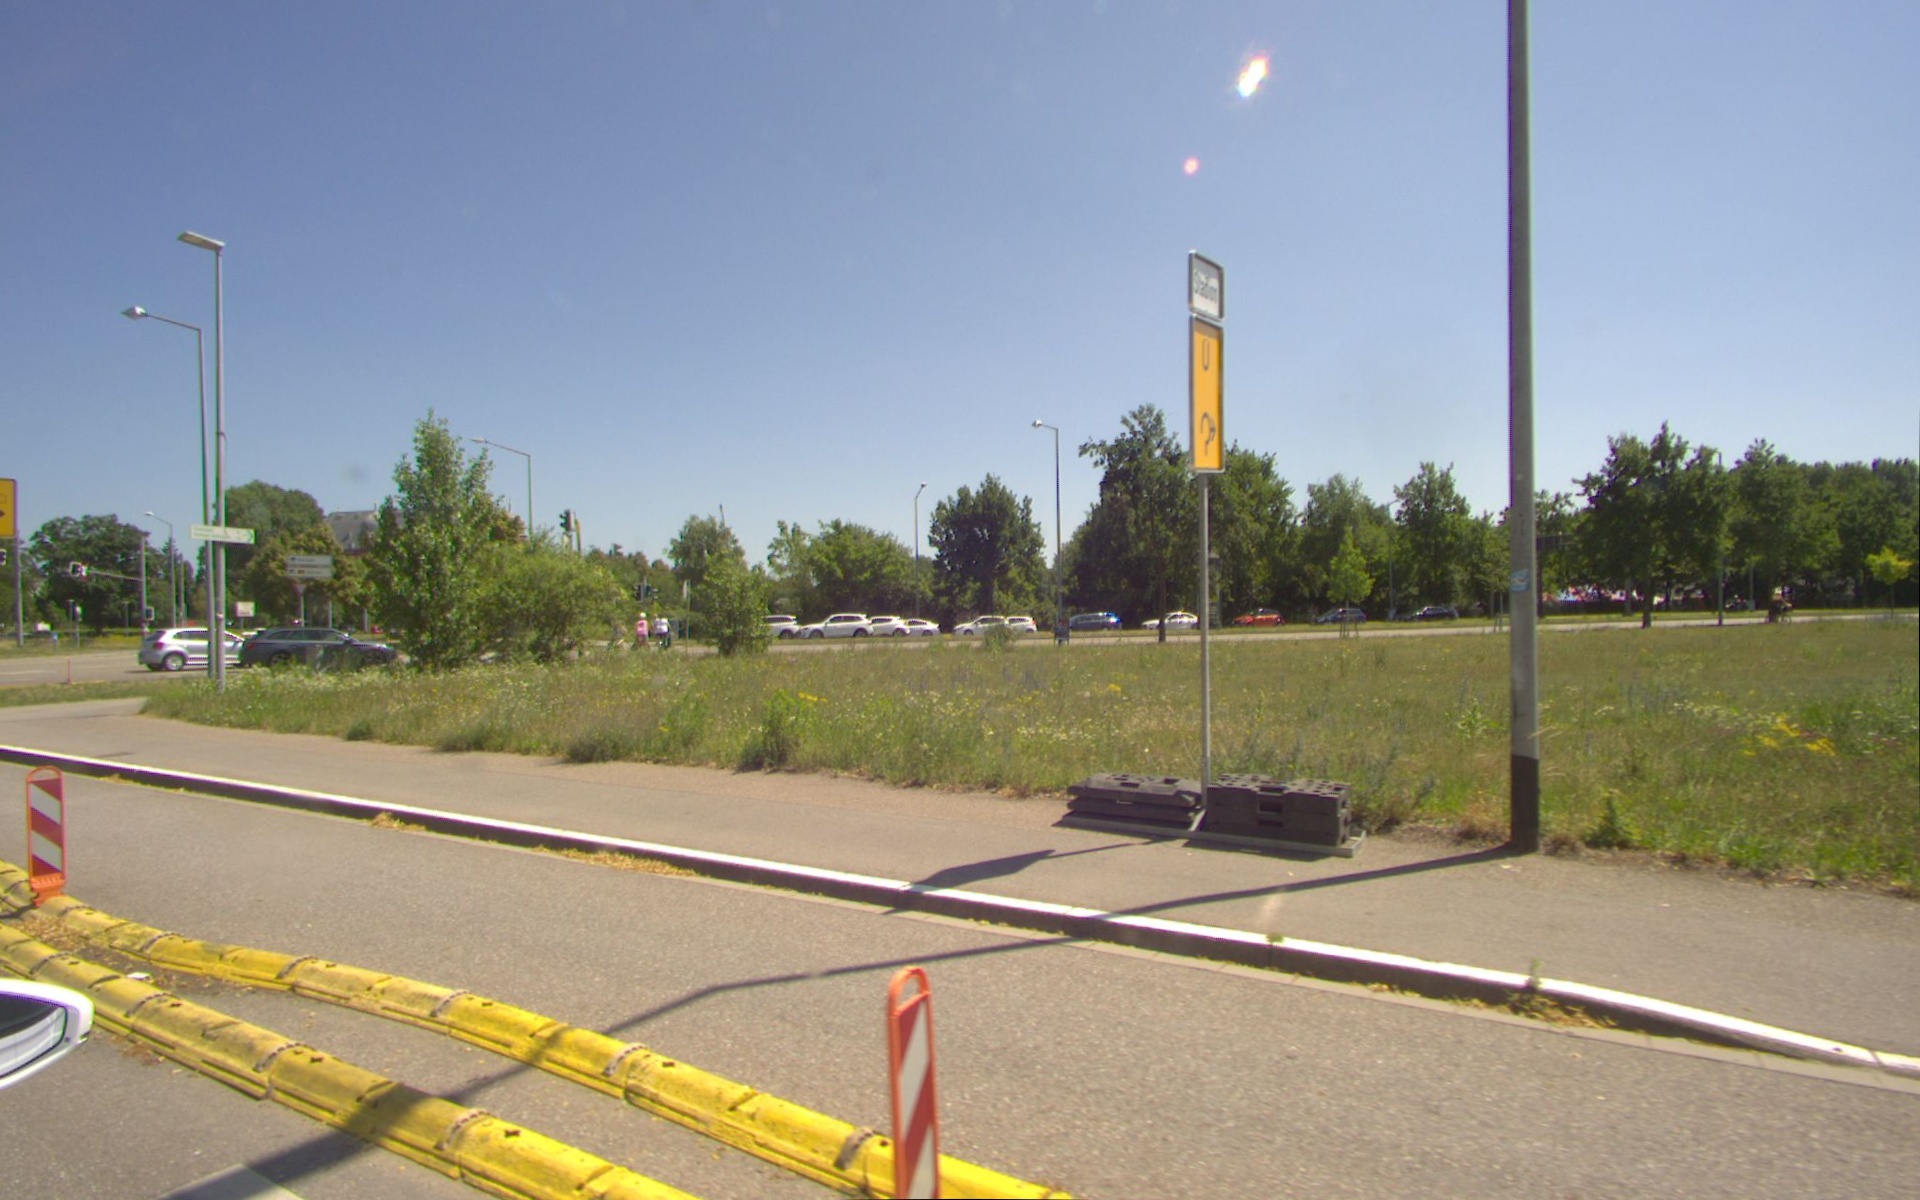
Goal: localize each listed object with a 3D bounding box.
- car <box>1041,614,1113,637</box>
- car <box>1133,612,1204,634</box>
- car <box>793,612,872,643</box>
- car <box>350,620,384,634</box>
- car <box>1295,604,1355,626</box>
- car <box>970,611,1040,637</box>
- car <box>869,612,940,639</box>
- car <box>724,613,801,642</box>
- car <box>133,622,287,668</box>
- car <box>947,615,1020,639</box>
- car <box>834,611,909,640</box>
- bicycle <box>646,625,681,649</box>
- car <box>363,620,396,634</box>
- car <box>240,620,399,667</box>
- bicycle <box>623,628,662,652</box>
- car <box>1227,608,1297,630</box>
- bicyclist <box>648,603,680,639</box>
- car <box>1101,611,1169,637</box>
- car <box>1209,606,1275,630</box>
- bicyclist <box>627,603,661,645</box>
[{"bbox_3d":[7.651,1.641,65.654,4.329,1.441,1.862,0,0,-16],"label":"car"},{"bbox_3d":[14.073,1.540,67.748,4.329,1.441,1.862,0,0,-16],"label":"car"},{"bbox_3d":[-7.420,1.597,58.331,4.329,1.705,1.862,0,0,-16],"label":"car"},{"bbox_3d":[-87.270,3.943,147.362,3.931,2.039,1.996,0,-2,-19],"label":"car"},{"bbox_3d":[25.959,1.064,71.240,3.730,1.493,1.718,0,-2,-17],"label":"car"},{"bbox_3d":[3.017,1.618,67.599,4.329,1.705,1.862,0,0,-16],"label":"car"},{"bbox_3d":[-3.647,1.644,65.490,4.329,1.705,1.862,0,0,-16],"label":"car"},{"bbox_3d":[-11.801,1.637,59.786,4.329,1.639,1.862,0,0,-16],"label":"car"},{"bbox_3d":[-26.203,1.531,35.108,1.758,1.441,3.975,-1,0,35],"label":"car"},{"bbox_3d":[1.473,1.712,64.029,4.329,1.441,1.862,0,0,-16],"label":"car"},{"bbox_3d":[-5.504,1.568,62.015,4.329,1.705,1.862,0,0,-16],"label":"car"},{"bbox_3d":[-12.817,1.586,43.284,0.881,0.912,1.762,1,1,4],"label":"bicycle"},{"bbox_3d":[-87.028,4.055,150.163,3.931,2.039,1.996,0,-2,-19],"label":"car"},{"bbox_3d":[-22.015,1.459,34.486,4.405,1.437,1.983,0,0,-40],"label":"car"},{"bbox_3d":[-12.301,1.537,38.899,0.881,0.912,2.227,1,-2,-2],"label":"bicycle"},{"bbox_3d":[21.087,1.334,69.921,4.329,1.441,1.862,0,0,-16],"label":"car"},{"bbox_3d":[-12.805,0.901,43.379,0.941,1.552,1.185,0,1,3],"label":"bicyclist"},{"bbox_3d":[12.296,1.666,70.450,4.329,1.705,1.862,0,0,-16],"label":"car"},{"bbox_3d":[20.542,1.287,72.948,4.329,1.705,1.862,0,0,-16],"label":"car"},{"bbox_3d":[-12.285,0.940,38.955,0.941,1.630,1.186,-1,-1,-2],"label":"bicyclist"}]
